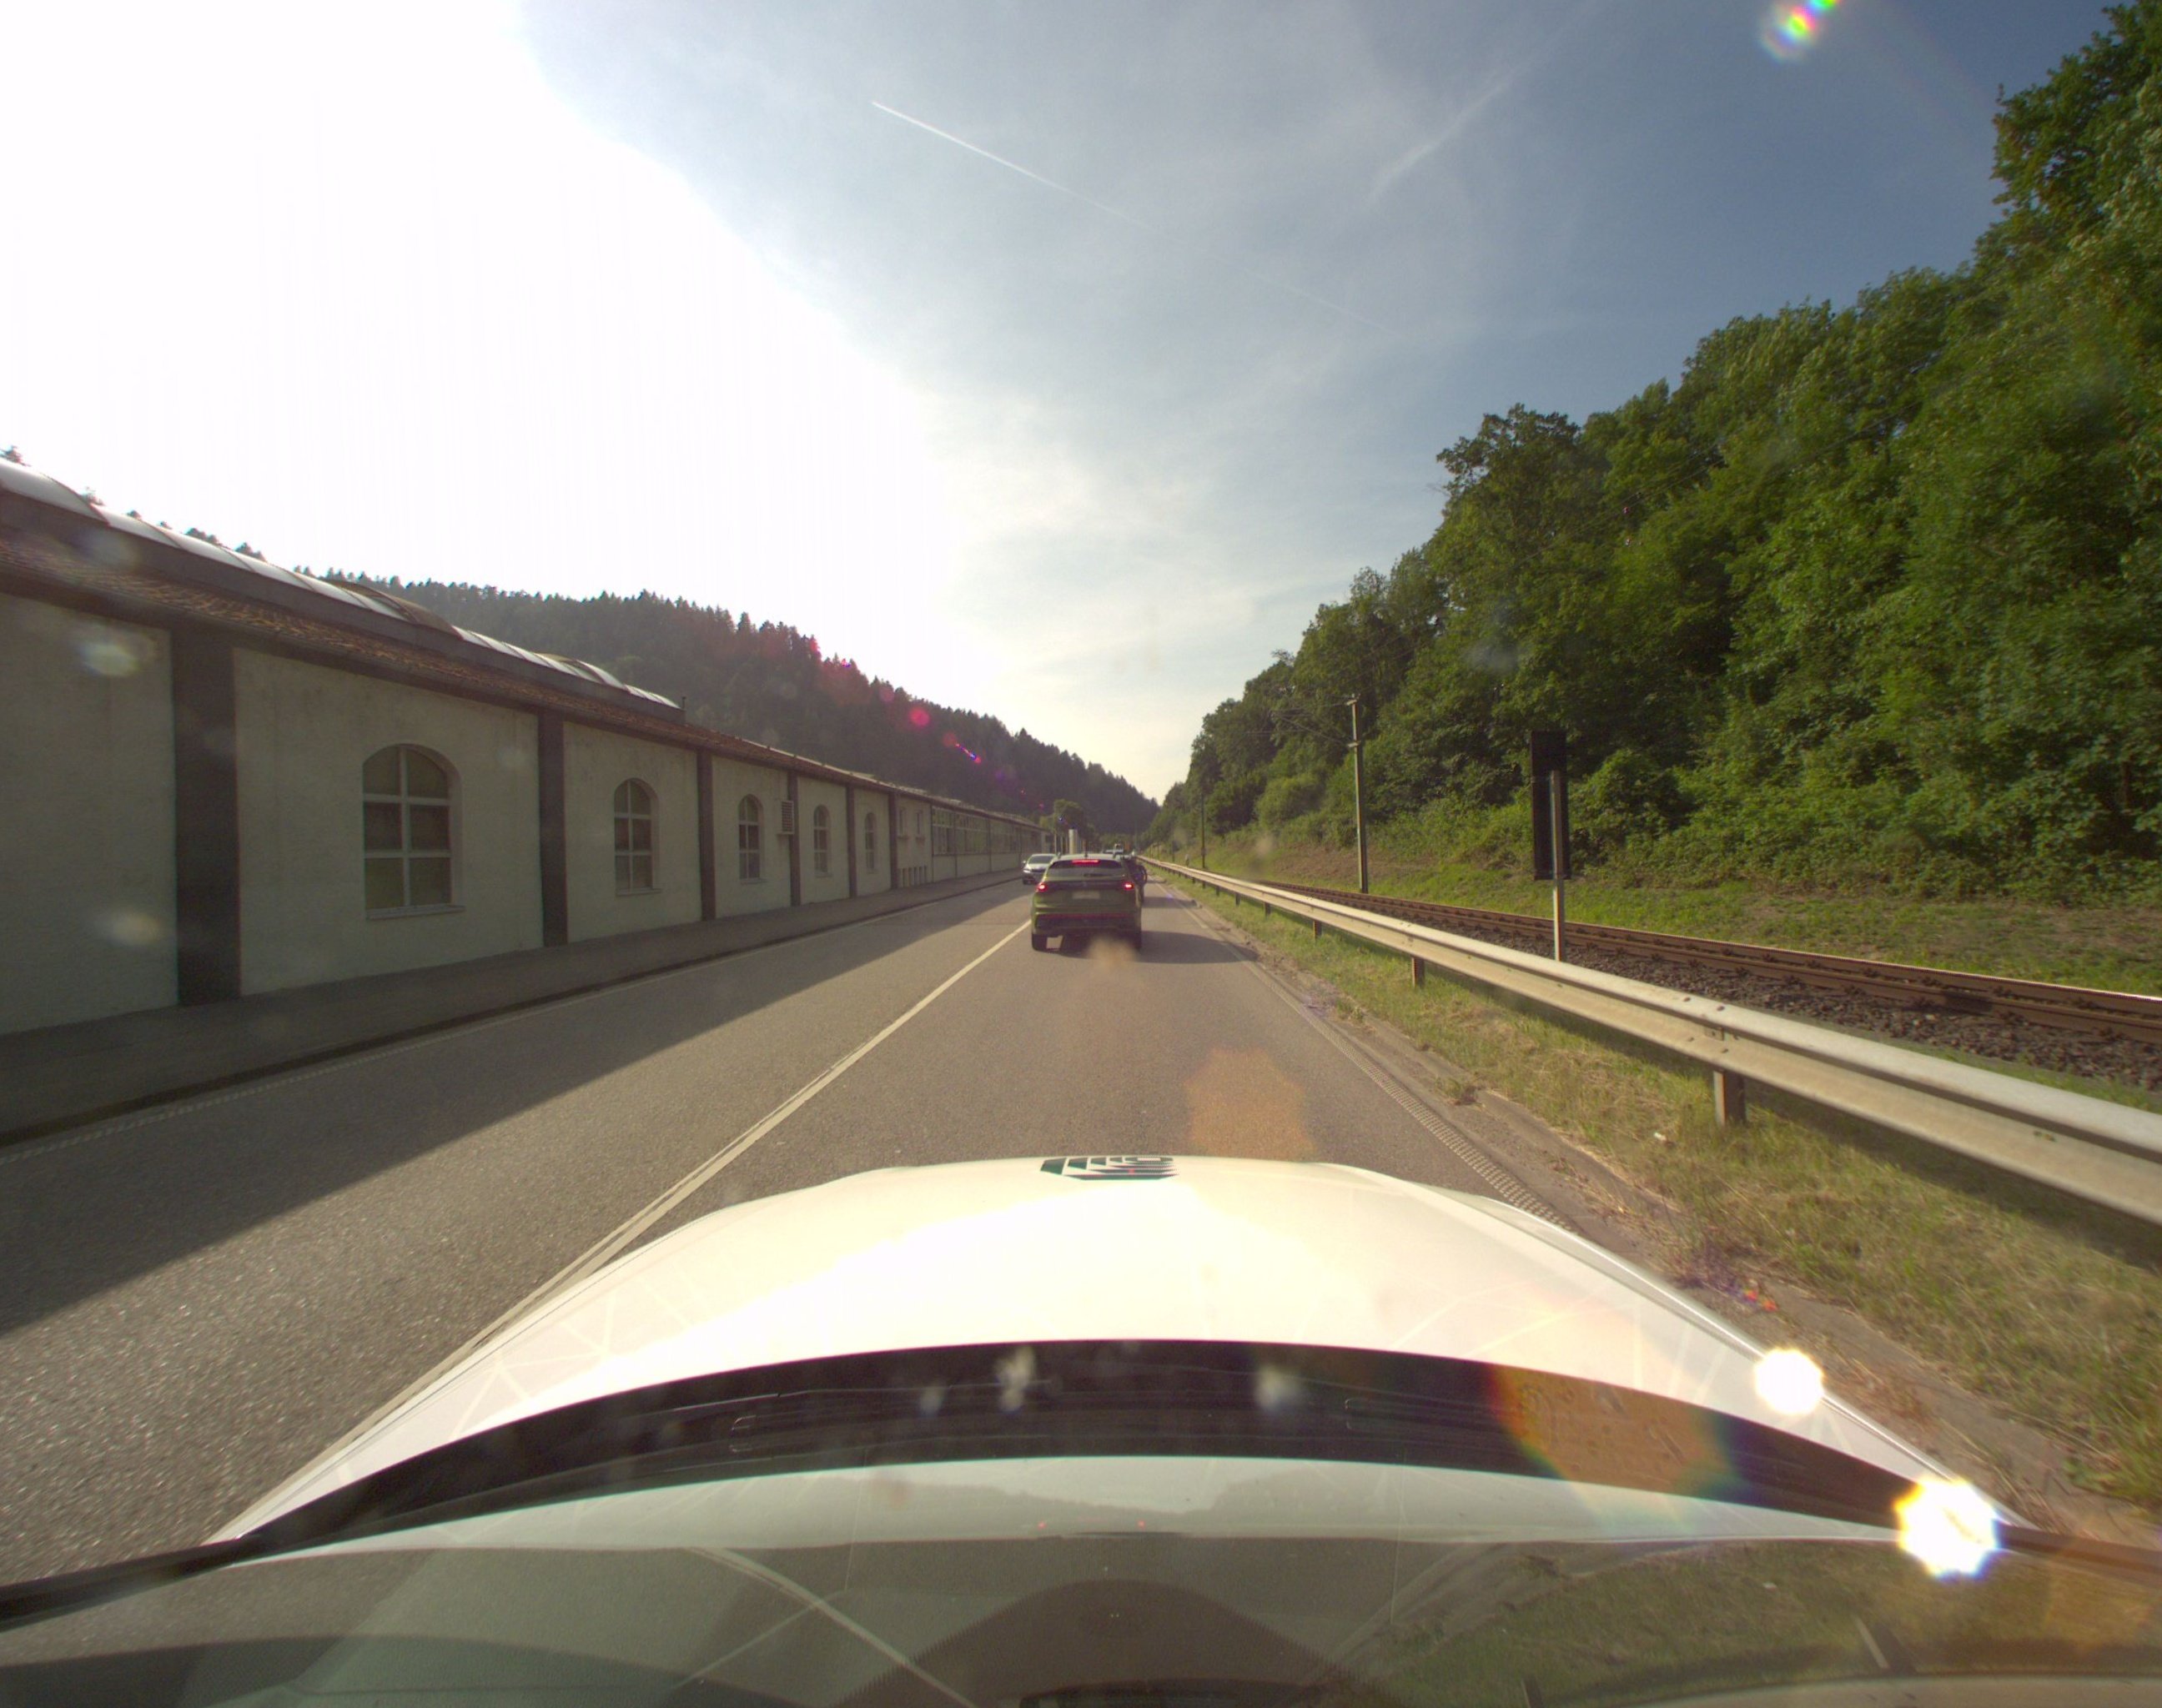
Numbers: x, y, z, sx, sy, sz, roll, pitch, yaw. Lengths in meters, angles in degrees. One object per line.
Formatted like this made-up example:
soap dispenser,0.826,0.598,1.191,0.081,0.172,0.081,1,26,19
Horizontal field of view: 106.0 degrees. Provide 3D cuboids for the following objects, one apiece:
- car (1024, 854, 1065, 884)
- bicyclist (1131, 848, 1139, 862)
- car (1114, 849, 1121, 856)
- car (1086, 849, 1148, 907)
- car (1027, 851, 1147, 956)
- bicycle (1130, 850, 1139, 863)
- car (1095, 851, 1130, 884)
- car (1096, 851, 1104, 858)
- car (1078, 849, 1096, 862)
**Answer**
car,-1.754,0.720,40.465,1.733,1.392,4.111,-1,0,2
bicyclist,5.654,0.104,85.711,0.779,1.412,0.675,-1,0,0
car,10.920,-0.578,242.101,1.986,2.014,4.001,0,-1,2
car,1.083,0.663,24.923,1.733,1.602,4.002,-1,0,2
car,0.156,0.726,13.916,1.733,1.508,4.002,-1,0,2
bicycle,5.651,0.256,85.576,0.808,1.250,2.123,-1,0,1
car,1.612,0.655,42.301,1.733,1.602,4.002,-1,0,2
car,4.254,0.033,180.141,1.712,1.514,4.201,0,0,2
car,0.735,0.188,99.047,1.922,1.581,4.461,0,0,3
